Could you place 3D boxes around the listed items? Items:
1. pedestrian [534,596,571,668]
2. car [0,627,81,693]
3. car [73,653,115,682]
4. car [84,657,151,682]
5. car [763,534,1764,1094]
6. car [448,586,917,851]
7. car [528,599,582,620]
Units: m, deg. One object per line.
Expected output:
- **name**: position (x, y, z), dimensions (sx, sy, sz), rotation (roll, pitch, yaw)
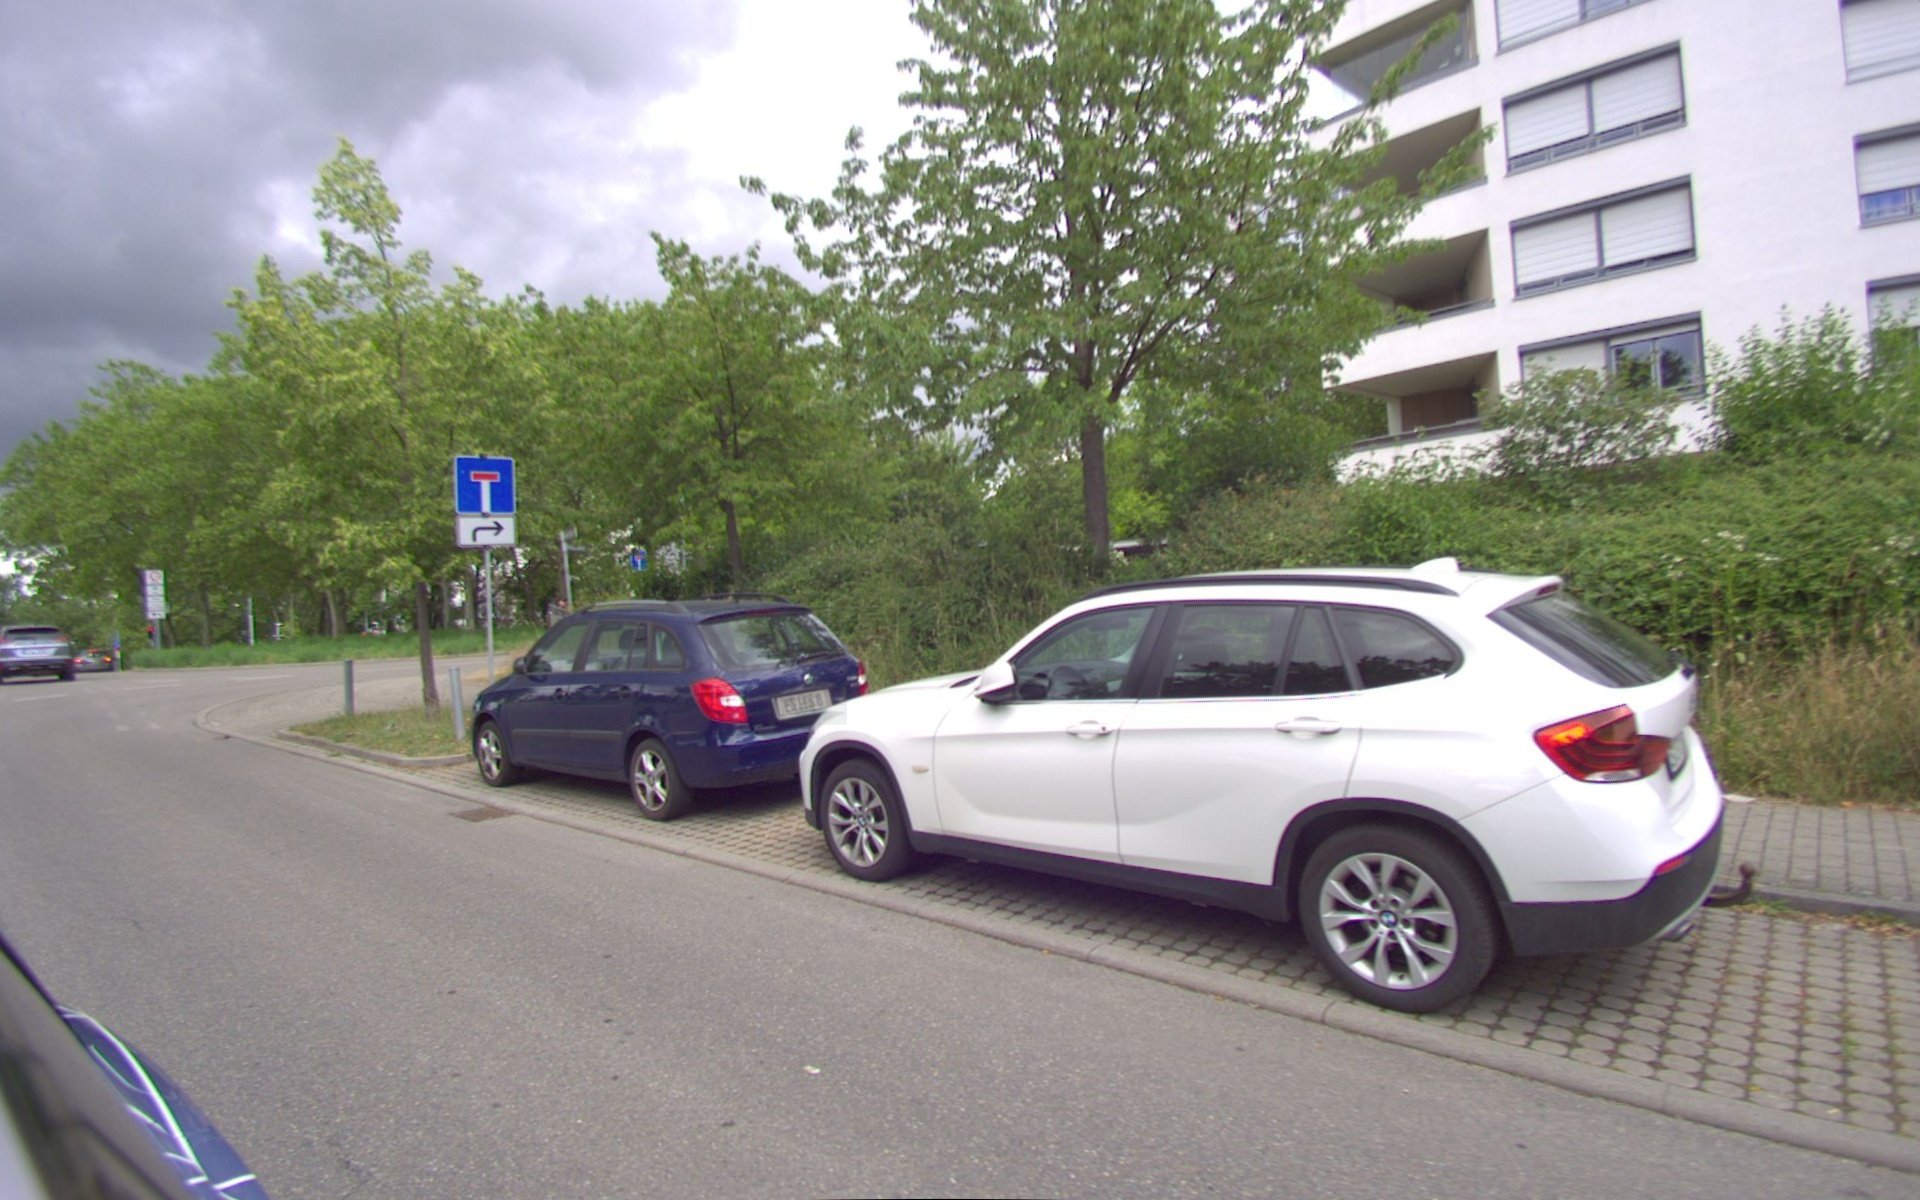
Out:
- **pedestrian**: position (-9.658, 0.763, 23.995), dimensions (0.707, 1.623, 0.636), rotation (-4, -2, -22)
- **car**: position (-26.919, 1.709, 28.895), dimensions (4.161, 1.594, 1.879), rotation (-3, 3, 38)
- **car**: position (-52.318, 4.040, 61.095), dimensions (1.733, 1.527, 4.004), rotation (-2, 0, -43)
- **car**: position (-62.343, 5.091, 74.907), dimensions (1.629, 1.541, 3.606), rotation (-3, 0, 43)
- **car**: position (1.073, 0.634, 4.853), dimensions (4.229, 1.522, 1.672), rotation (-3, 2, 42)
- **car**: position (-2.368, 0.776, 8.048), dimensions (3.953, 1.498, 1.672), rotation (-3, 2, 43)
- **car**: position (-30.541, 0.684, 76.336), dimensions (1.640, 1.475, 3.978), rotation (-3, 0, 17)
